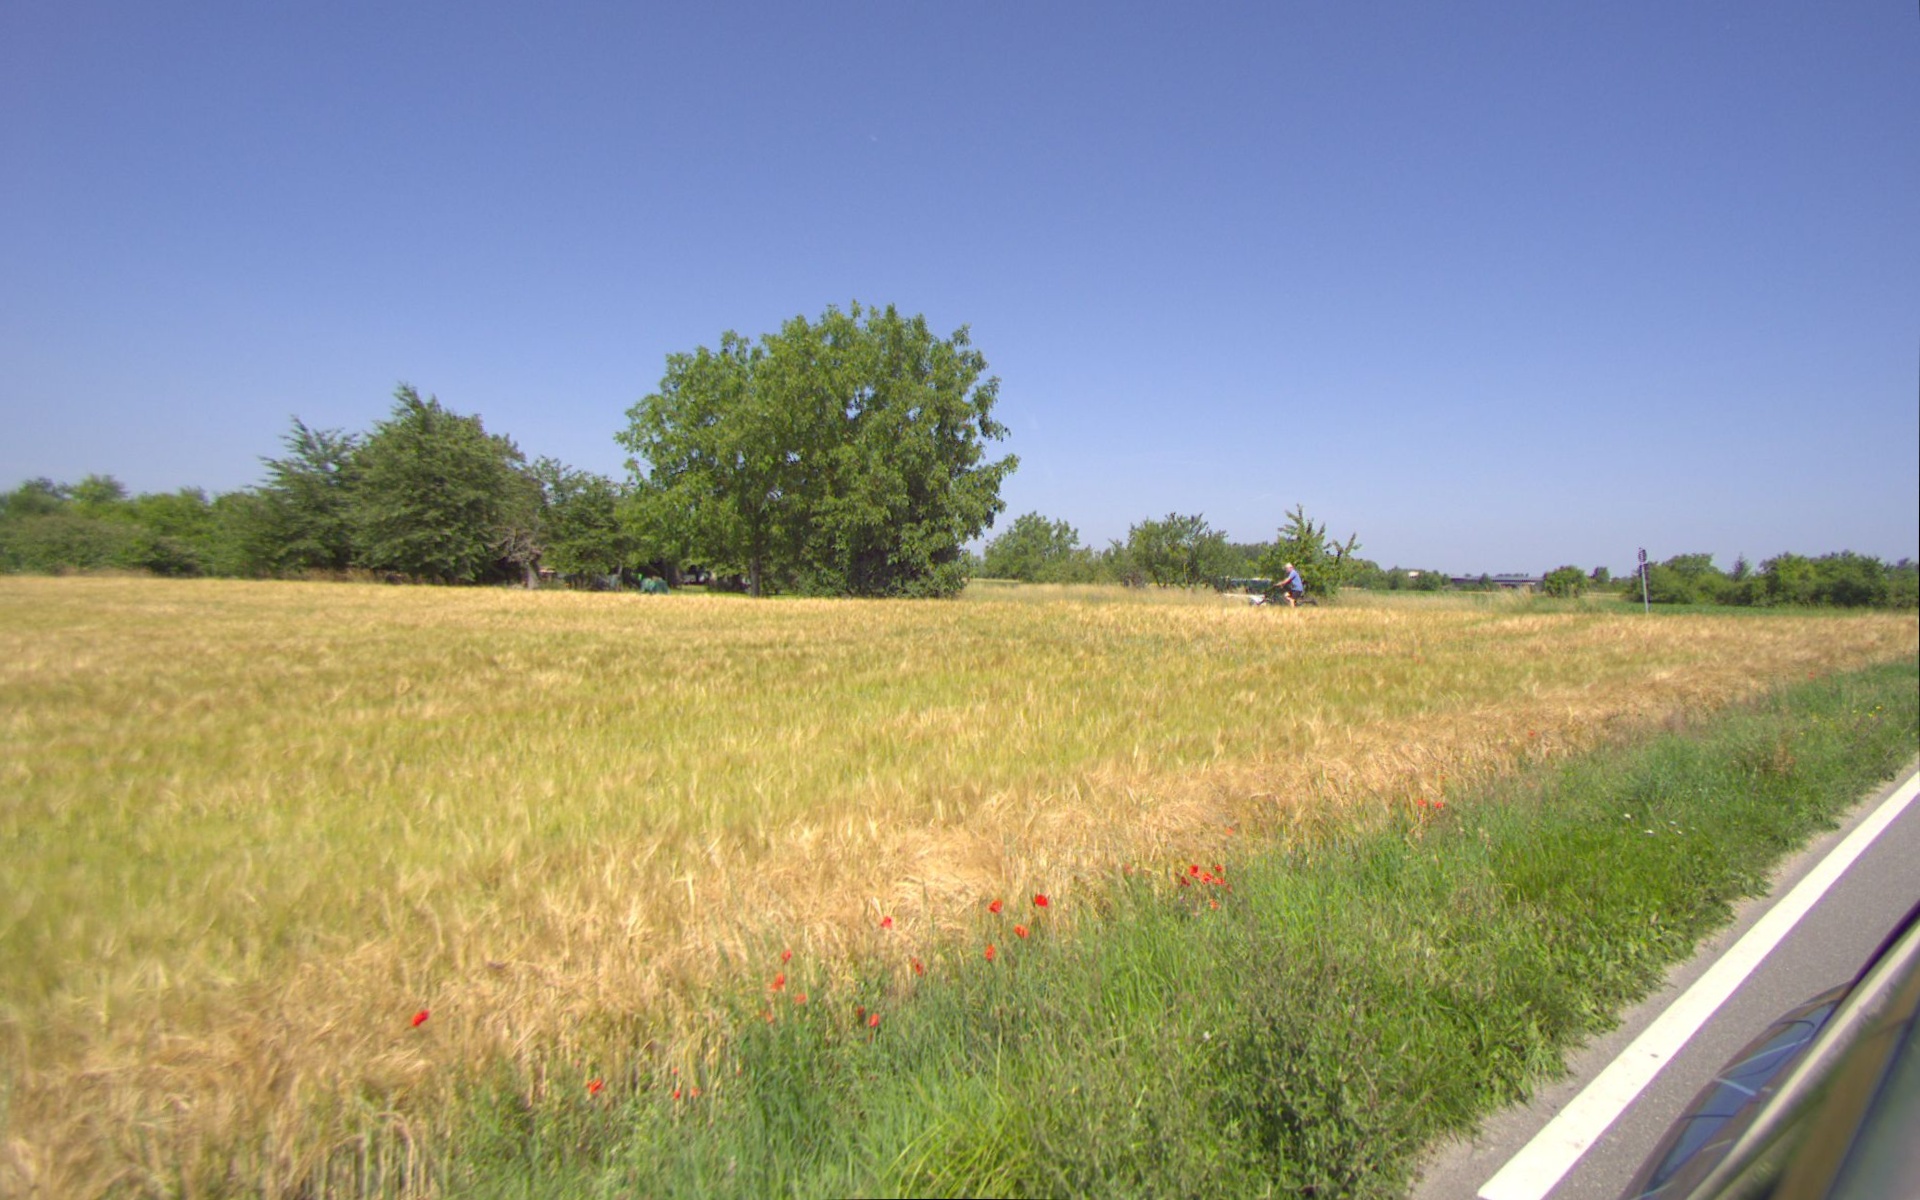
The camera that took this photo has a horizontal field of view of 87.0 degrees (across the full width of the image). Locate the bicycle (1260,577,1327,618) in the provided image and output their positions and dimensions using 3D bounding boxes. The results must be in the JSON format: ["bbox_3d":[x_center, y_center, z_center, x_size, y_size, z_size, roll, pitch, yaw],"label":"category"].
[{"bbox_3d":[9.706,-0.083,29.472,1.738,1.129,0.521,1,1,5],"label":"bicycle"}]

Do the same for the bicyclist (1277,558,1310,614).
[{"bbox_3d":[9.713,-0.400,29.467,0.722,1.593,0.674,1,1,5],"label":"bicyclist"}]
